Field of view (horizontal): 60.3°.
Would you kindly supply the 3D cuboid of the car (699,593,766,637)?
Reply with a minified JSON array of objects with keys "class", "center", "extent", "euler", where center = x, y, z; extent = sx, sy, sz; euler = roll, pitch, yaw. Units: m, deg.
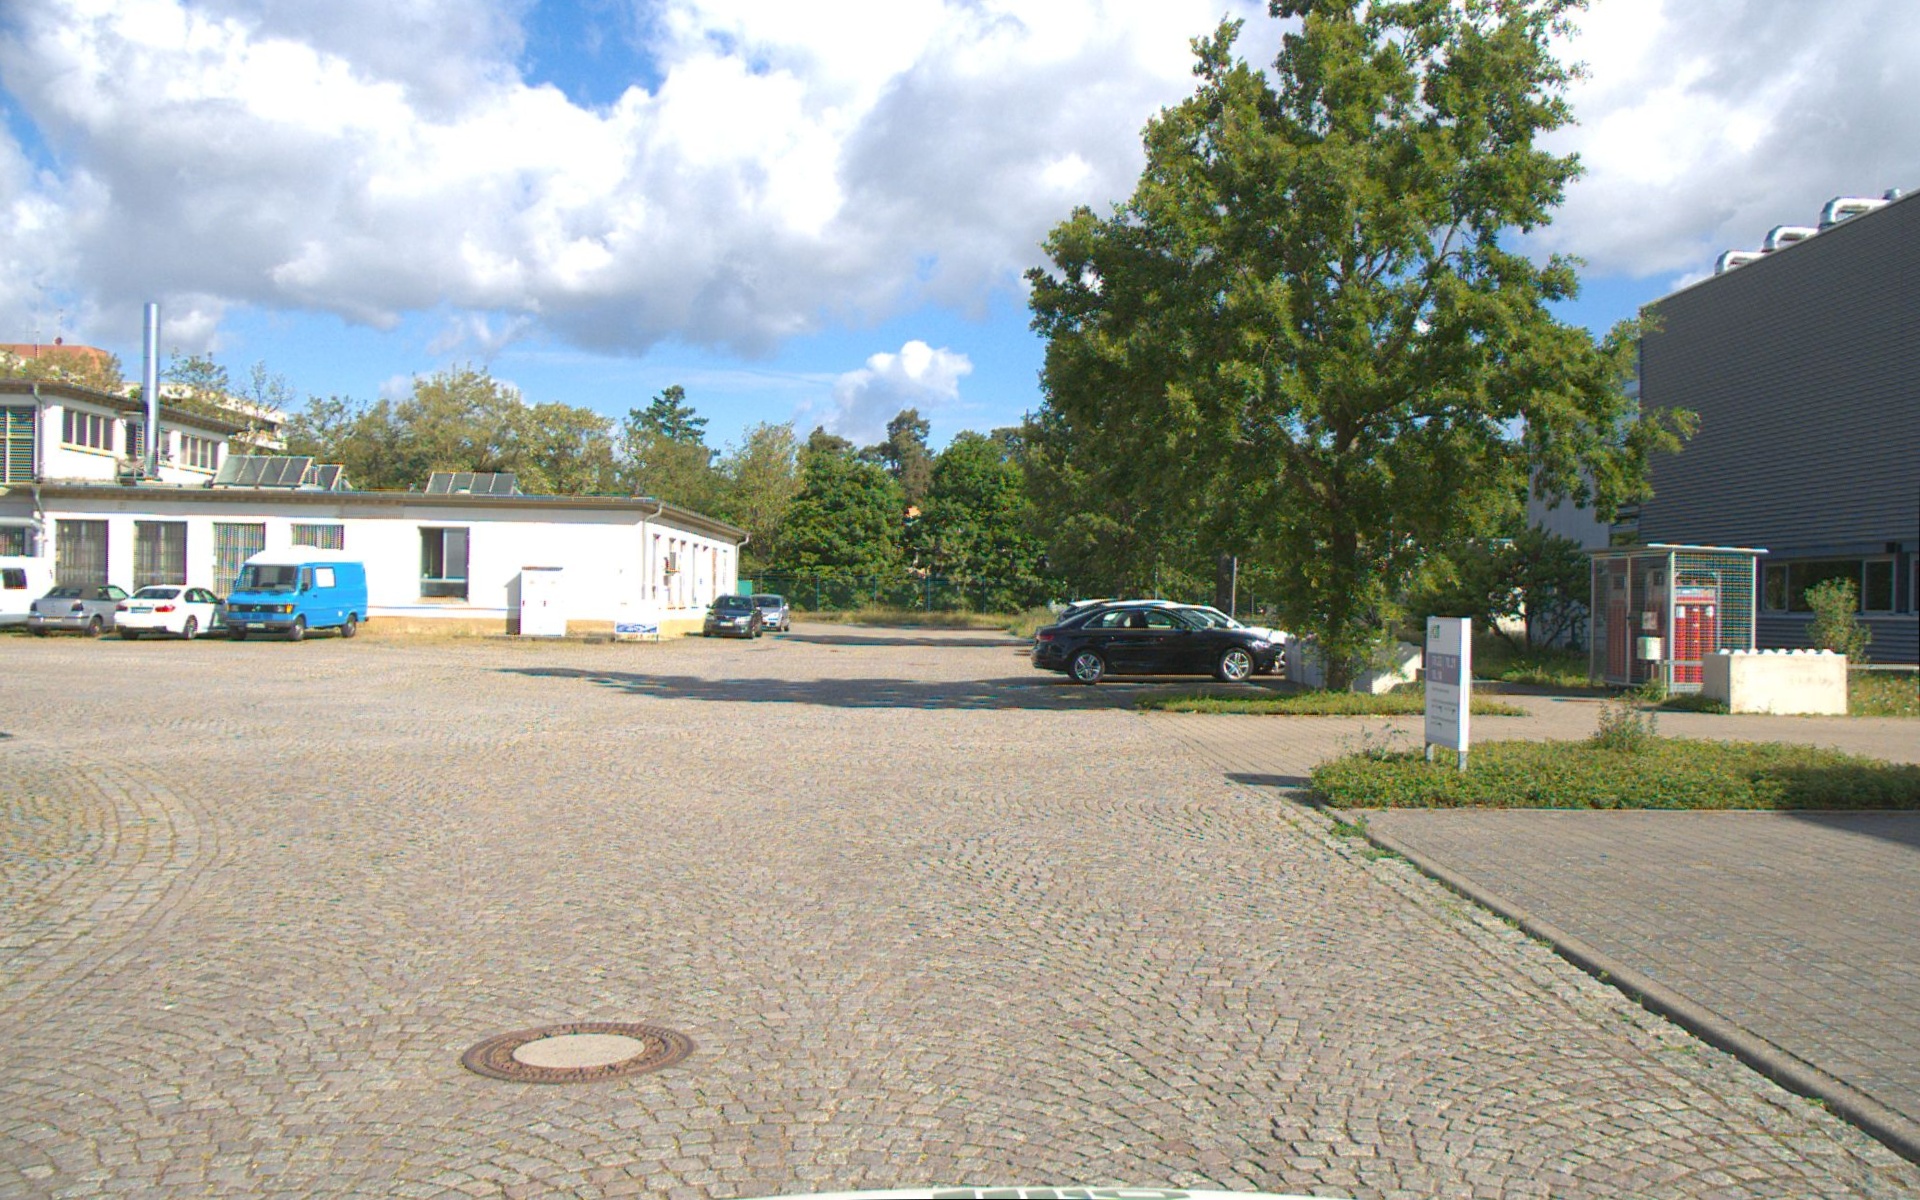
[{"class":"car","center":[-7.926,0.506,57.943],"extent":[1.727,1.460,3.992],"euler":[1,0,0]}]

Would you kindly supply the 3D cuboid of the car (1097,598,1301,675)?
[{"class":"car","center":[4.881,0.732,34.155],"extent":[4.051,1.485,1.692],"euler":[-1,0,4]}]

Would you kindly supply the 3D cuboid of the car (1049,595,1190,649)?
[{"class":"car","center":[4.523,0.621,47.274],"extent":[3.832,1.460,1.796],"euler":[-1,0,0]}]

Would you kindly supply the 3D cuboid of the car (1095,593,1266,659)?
[{"class":"car","center":[5.179,0.605,39.186],"extent":[3.832,1.472,1.756],"euler":[-1,0,0]}]

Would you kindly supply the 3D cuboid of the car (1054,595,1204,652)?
[{"class":"car","center":[4.493,0.624,44.361],"extent":[3.832,1.442,1.692],"euler":[-1,0,0]}]

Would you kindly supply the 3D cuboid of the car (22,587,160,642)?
[{"class":"car","center":[-23.963,0.385,45.761],"extent":[1.652,1.423,3.832],"euler":[1,0,2]}]

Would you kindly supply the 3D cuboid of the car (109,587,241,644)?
[{"class":"car","center":[-21.215,0.387,44.843],"extent":[1.696,1.430,3.740],"euler":[0,1,2]}]

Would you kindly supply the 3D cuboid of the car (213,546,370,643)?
[{"class":"car","center":[-18.437,-0.149,45.908],"extent":[2.039,2.526,5.240],"euler":[0,0,2]}]

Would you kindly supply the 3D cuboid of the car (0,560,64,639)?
[{"class":"car","center":[-26.822,-0.019,45.106],"extent":[1.961,2.118,4.806],"euler":[0,0,2]}]

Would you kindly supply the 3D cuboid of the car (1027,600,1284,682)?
[{"class":"car","center":[3.650,0.753,31.408],"extent":[4.623,1.448,1.756],"euler":[-1,0,-2]}]

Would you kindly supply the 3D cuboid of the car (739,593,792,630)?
[{"class":"car","center":[-7.936,0.460,67.887],"extent":[1.652,1.460,3.987],"euler":[1,0,0]}]
